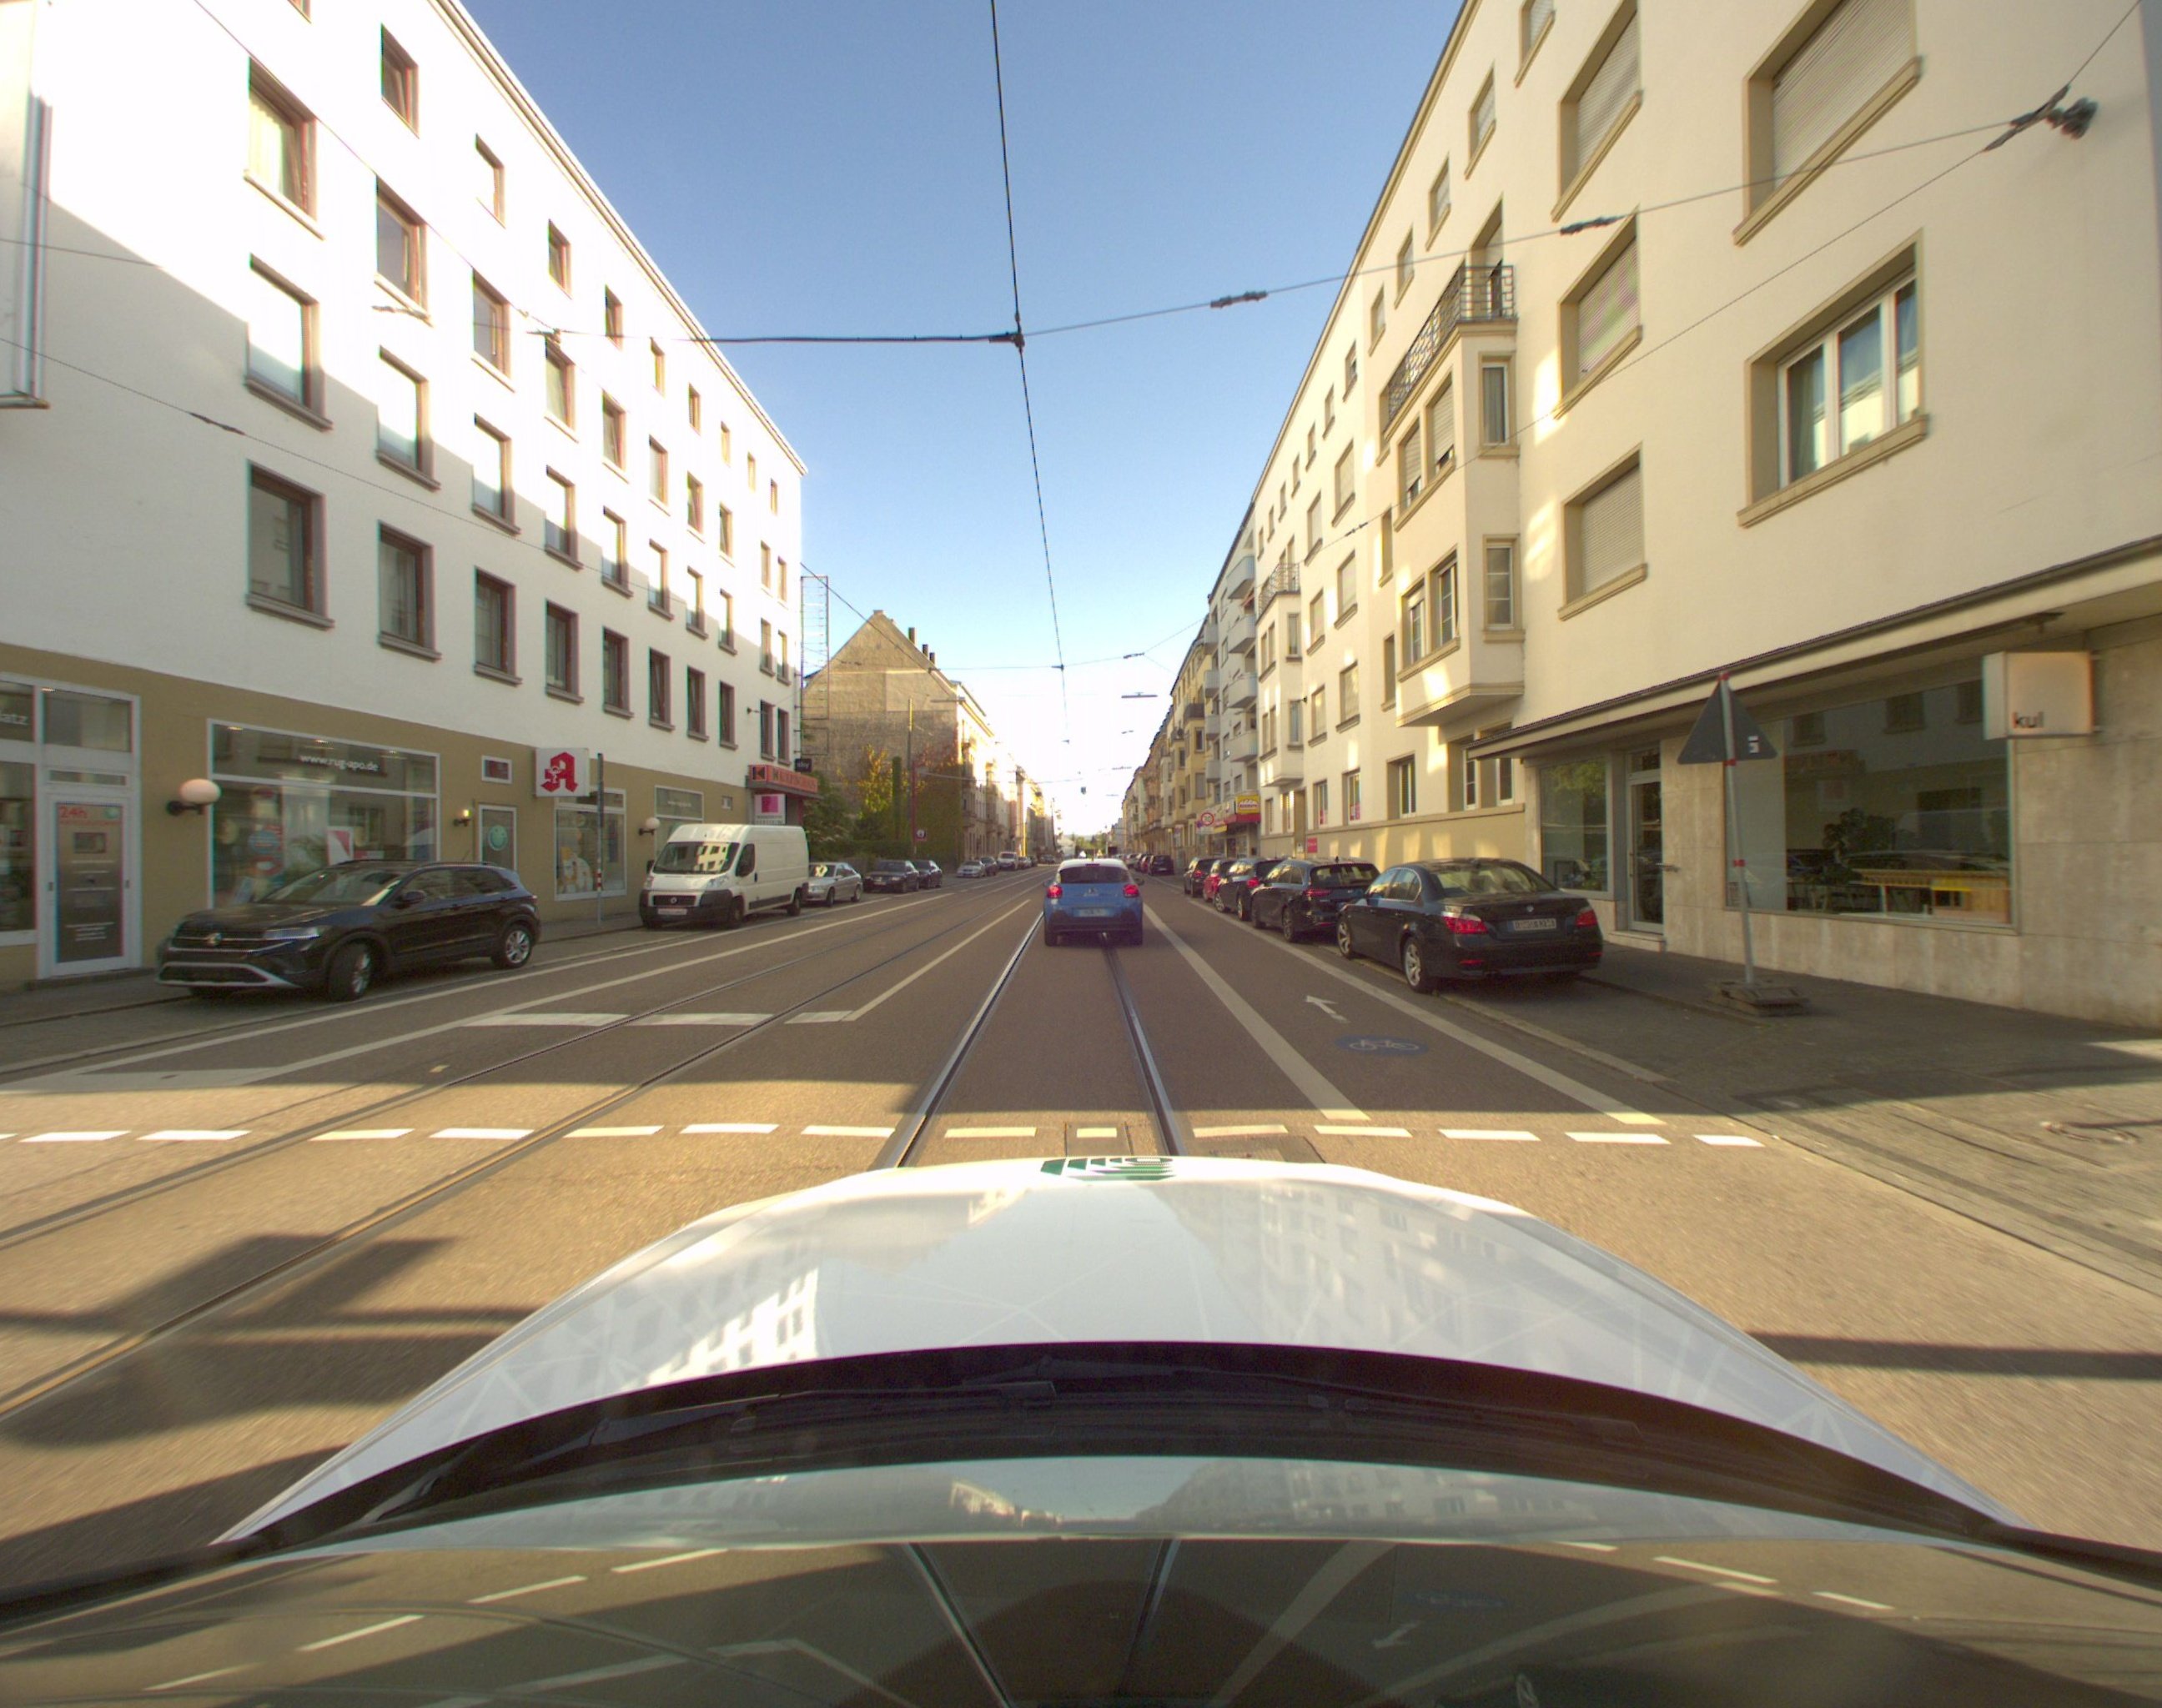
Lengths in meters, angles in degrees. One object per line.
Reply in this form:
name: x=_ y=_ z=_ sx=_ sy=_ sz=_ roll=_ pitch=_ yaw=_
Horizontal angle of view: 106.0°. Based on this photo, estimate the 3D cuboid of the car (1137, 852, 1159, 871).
car: x=6.098 y=0.707 z=74.519 sx=1.852 sy=1.665 sz=4.564 roll=-1 pitch=0 yaw=2

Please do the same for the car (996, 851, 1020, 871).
car: x=-7.537 y=0.699 z=84.899 sx=1.966 sy=1.949 sz=5.251 roll=1 pitch=0 yaw=0

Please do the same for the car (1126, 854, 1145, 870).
car: x=6.030 y=0.874 z=90.716 sx=1.836 sy=1.691 sz=4.506 roll=-1 pitch=0 yaw=1

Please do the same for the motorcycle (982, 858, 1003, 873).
motorcycle: x=-7.974 y=1.005 z=73.312 sx=0.875 sy=1.351 sz=1.970 roll=-1 pitch=0 yaw=33

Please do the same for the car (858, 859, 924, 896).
car: x=-8.364 y=0.990 z=36.302 sx=1.777 sy=1.481 sz=4.700 roll=1 pitch=0 yaw=1

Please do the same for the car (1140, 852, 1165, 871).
car: x=5.874 y=0.607 z=67.703 sx=1.852 sy=1.455 sz=4.712 roll=-1 pitch=0 yaw=2

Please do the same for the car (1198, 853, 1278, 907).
car: x=4.838 y=0.758 z=25.606 sx=1.850 sy=1.473 sz=3.991 roll=-3 pitch=0 yaw=2

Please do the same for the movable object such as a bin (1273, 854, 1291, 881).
movable object such as a bin: x=7.935 y=0.525 z=32.202 sx=0.556 sy=1.057 sz=0.554 roll=-1 pitch=0 yaw=0

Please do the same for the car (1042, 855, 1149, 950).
car: x=0.288 y=0.792 z=15.268 sx=1.729 sy=1.507 sz=3.993 roll=1 pitch=0 yaw=1

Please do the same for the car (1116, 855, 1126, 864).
car: x=7.387 y=1.074 z=151.501 sx=1.777 sy=1.576 sz=4.327 roll=-1 pitch=0 yaw=1

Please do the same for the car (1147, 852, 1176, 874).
car: x=5.821 y=0.628 z=59.296 sx=1.712 sy=1.491 sz=4.003 roll=-2 pitch=0 yaw=1

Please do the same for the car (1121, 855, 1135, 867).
car: x=6.450 y=0.906 z=112.038 sx=1.746 sy=1.594 sz=3.732 roll=-1 pitch=0 yaw=2

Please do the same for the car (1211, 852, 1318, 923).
car: x=4.458 y=0.762 z=20.401 sx=1.850 sy=1.507 sz=4.098 roll=-3 pitch=0 yaw=2

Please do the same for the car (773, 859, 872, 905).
car: x=-8.663 y=0.878 z=27.728 sx=1.776 sy=1.398 sz=4.447 roll=1 pitch=0 yaw=2

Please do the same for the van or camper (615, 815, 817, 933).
van or camper: x=-8.781 y=0.432 z=20.457 sx=2.164 sy=2.467 sz=6.232 roll=1 pitch=0 yaw=0

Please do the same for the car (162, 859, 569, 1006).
car: x=-9.080 y=0.866 z=10.901 sx=1.776 sy=1.552 sz=3.995 roll=1 pitch=0 yaw=2

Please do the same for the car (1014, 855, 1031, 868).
car: x=-7.189 y=0.919 z=100.195 sx=1.766 sy=1.547 sz=4.364 roll=1 pitch=0 yaw=-1

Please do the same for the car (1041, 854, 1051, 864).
car: x=-6.282 y=0.937 z=146.370 sx=1.778 sy=1.690 sz=4.666 roll=1 pitch=0 yaw=-1

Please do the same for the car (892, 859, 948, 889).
car: x=-8.308 y=0.991 z=42.408 sx=1.777 sy=1.446 sz=4.843 roll=1 pitch=0 yaw=1

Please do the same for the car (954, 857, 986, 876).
car: x=-8.295 y=0.910 z=61.142 sx=1.777 sy=1.314 sz=4.222 roll=1 pitch=0 yaw=1

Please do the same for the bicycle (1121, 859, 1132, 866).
bicycle: x=7.958 y=1.468 z=142.688 sx=1.716 sy=1.154 sz=0.469 roll=-4 pitch=0 yaw=1

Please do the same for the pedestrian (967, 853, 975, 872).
pedestrian: x=-10.125 y=0.765 z=75.047 sx=0.677 sy=1.724 sz=0.616 roll=0 pitch=0 yaw=1

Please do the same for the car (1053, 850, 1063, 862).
car: x=-5.047 y=0.450 z=181.064 sx=2.138 sy=2.475 sz=4.978 roll=1 pitch=0 yaw=-1

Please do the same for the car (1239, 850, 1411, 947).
car: x=4.518 y=0.761 z=15.872 sx=1.852 sy=1.507 sz=4.504 roll=-3 pitch=0 yaw=-1

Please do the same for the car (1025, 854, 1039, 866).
car: x=-6.892 y=0.857 z=115.359 sx=1.778 sy=1.606 sz=4.395 roll=1 pitch=0 yaw=-1

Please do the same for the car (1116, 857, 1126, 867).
car: x=7.143 y=1.435 z=145.848 sx=1.777 sy=1.632 sz=4.001 roll=-1 pitch=0 yaw=1

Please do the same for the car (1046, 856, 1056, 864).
car: x=-5.826 y=1.145 z=157.345 sx=1.778 sy=1.627 sz=4.607 roll=1 pitch=0 yaw=-1

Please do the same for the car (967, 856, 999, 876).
car: x=-7.964 y=0.985 z=66.651 sx=1.776 sy=1.565 sz=4.614 roll=1 pitch=0 yaw=3

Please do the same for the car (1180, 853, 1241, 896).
car: x=4.830 y=0.727 z=30.924 sx=1.704 sy=1.407 sz=4.360 roll=-3 pitch=0 yaw=2

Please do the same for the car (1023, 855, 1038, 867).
car: x=-6.886 y=0.904 z=111.208 sx=1.777 sy=1.553 sz=3.020 roll=1 pitch=0 yaw=1

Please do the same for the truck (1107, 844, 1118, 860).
truck: x=8.313 y=-0.529 z=216.801 sx=2.842 sy=4.083 sz=11.277 roll=-1 pitch=0 yaw=2

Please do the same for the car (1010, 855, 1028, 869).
car: x=-7.209 y=0.930 z=94.723 sx=1.777 sy=1.523 sz=4.359 roll=1 pitch=0 yaw=0

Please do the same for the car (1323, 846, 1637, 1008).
car: x=4.673 y=0.730 z=10.508 sx=1.741 sy=1.507 sz=4.922 roll=-3 pitch=0 yaw=2

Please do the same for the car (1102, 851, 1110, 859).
car: x=5.635 y=0.240 z=185.121 sx=1.814 sy=1.894 sz=4.001 roll=0 pitch=0 yaw=1
